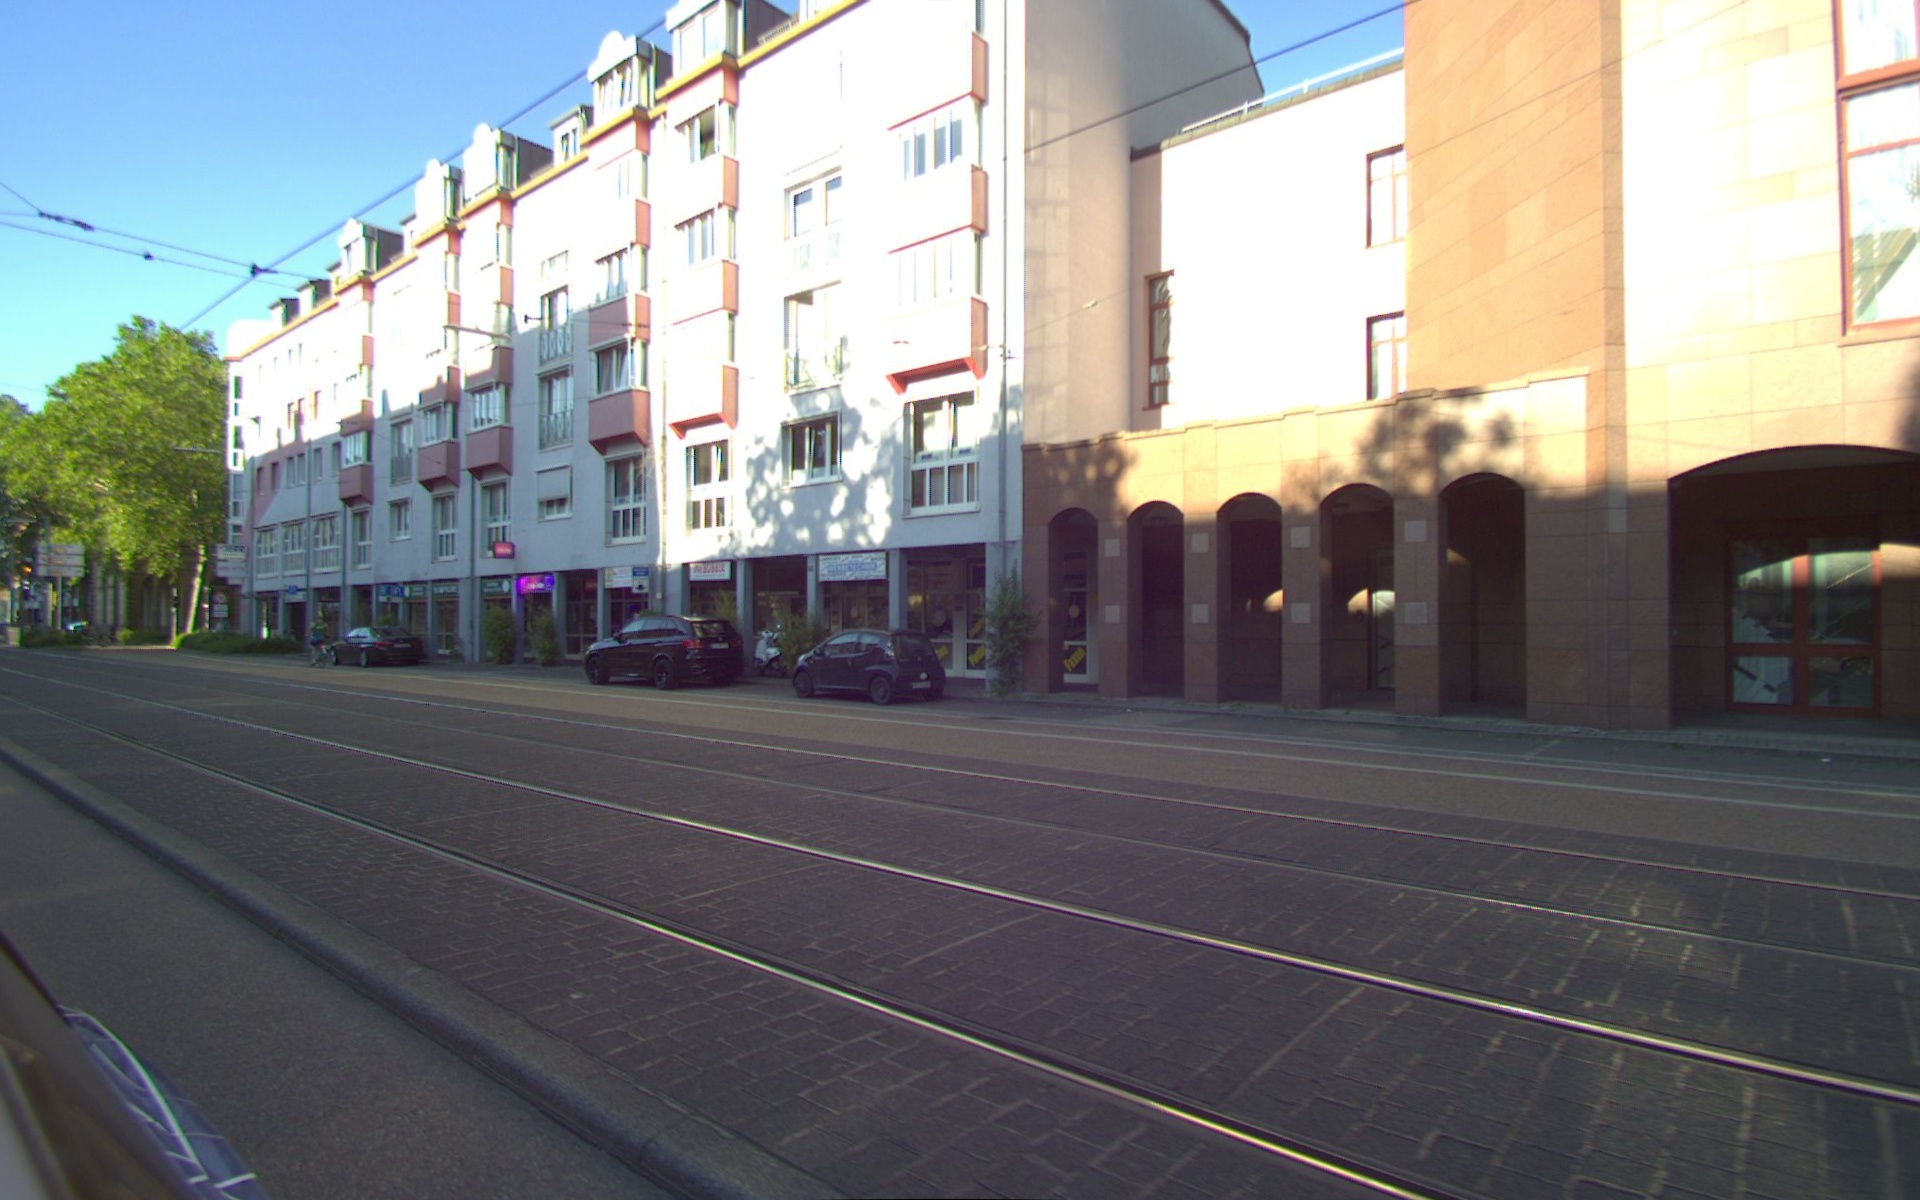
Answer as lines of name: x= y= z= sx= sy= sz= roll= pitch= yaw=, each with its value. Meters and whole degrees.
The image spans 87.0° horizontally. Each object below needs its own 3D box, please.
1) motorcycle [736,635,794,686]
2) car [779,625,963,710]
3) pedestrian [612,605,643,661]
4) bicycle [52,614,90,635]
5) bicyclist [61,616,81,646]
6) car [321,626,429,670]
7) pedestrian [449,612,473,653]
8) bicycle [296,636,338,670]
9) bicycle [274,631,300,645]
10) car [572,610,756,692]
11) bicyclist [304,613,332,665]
motorcycle: x=-4.824 y=1.475 z=25.023 sx=1.543 sy=1.142 sz=0.564 roll=0 pitch=1 yaw=40
car: x=-1.872 y=1.301 z=20.751 sx=3.584 sy=1.461 sz=1.849 roll=0 pitch=1 yaw=43
pedestrian: x=-10.359 y=1.009 z=31.525 sx=0.745 sy=1.725 sz=0.608 roll=-1 pitch=-1 yaw=39
bicycle: x=-50.620 y=1.402 z=57.653 sx=0.575 sy=1.085 sz=1.901 roll=-2 pitch=1 yaw=-4
bicyclist: x=-50.592 y=1.760 z=57.572 sx=0.525 sy=1.725 sz=0.746 roll=0 pitch=-1 yaw=-5
car: x=-21.693 y=1.723 z=37.484 sx=4.700 sy=1.450 sz=1.852 roll=-1 pitch=-1 yaw=38
pedestrian: x=-21.263 y=1.365 z=43.110 sx=0.615 sy=1.725 sz=0.736 roll=-1 pitch=-1 yaw=37
bicycle: x=-21.892 y=1.778 z=34.436 sx=2.184 sy=1.086 sz=0.576 roll=-1 pitch=-3 yaw=41
bicycle: x=-33.697 y=1.893 z=50.687 sx=1.806 sy=0.663 sz=0.452 roll=-1 pitch=2 yaw=35
car: x=-7.427 y=1.183 z=25.175 sx=4.815 sy=1.725 sz=2.070 roll=0 pitch=2 yaw=40
bicyclist: x=-21.826 y=1.320 z=34.406 sx=0.745 sy=1.725 sz=0.565 roll=-1 pitch=-3 yaw=40
